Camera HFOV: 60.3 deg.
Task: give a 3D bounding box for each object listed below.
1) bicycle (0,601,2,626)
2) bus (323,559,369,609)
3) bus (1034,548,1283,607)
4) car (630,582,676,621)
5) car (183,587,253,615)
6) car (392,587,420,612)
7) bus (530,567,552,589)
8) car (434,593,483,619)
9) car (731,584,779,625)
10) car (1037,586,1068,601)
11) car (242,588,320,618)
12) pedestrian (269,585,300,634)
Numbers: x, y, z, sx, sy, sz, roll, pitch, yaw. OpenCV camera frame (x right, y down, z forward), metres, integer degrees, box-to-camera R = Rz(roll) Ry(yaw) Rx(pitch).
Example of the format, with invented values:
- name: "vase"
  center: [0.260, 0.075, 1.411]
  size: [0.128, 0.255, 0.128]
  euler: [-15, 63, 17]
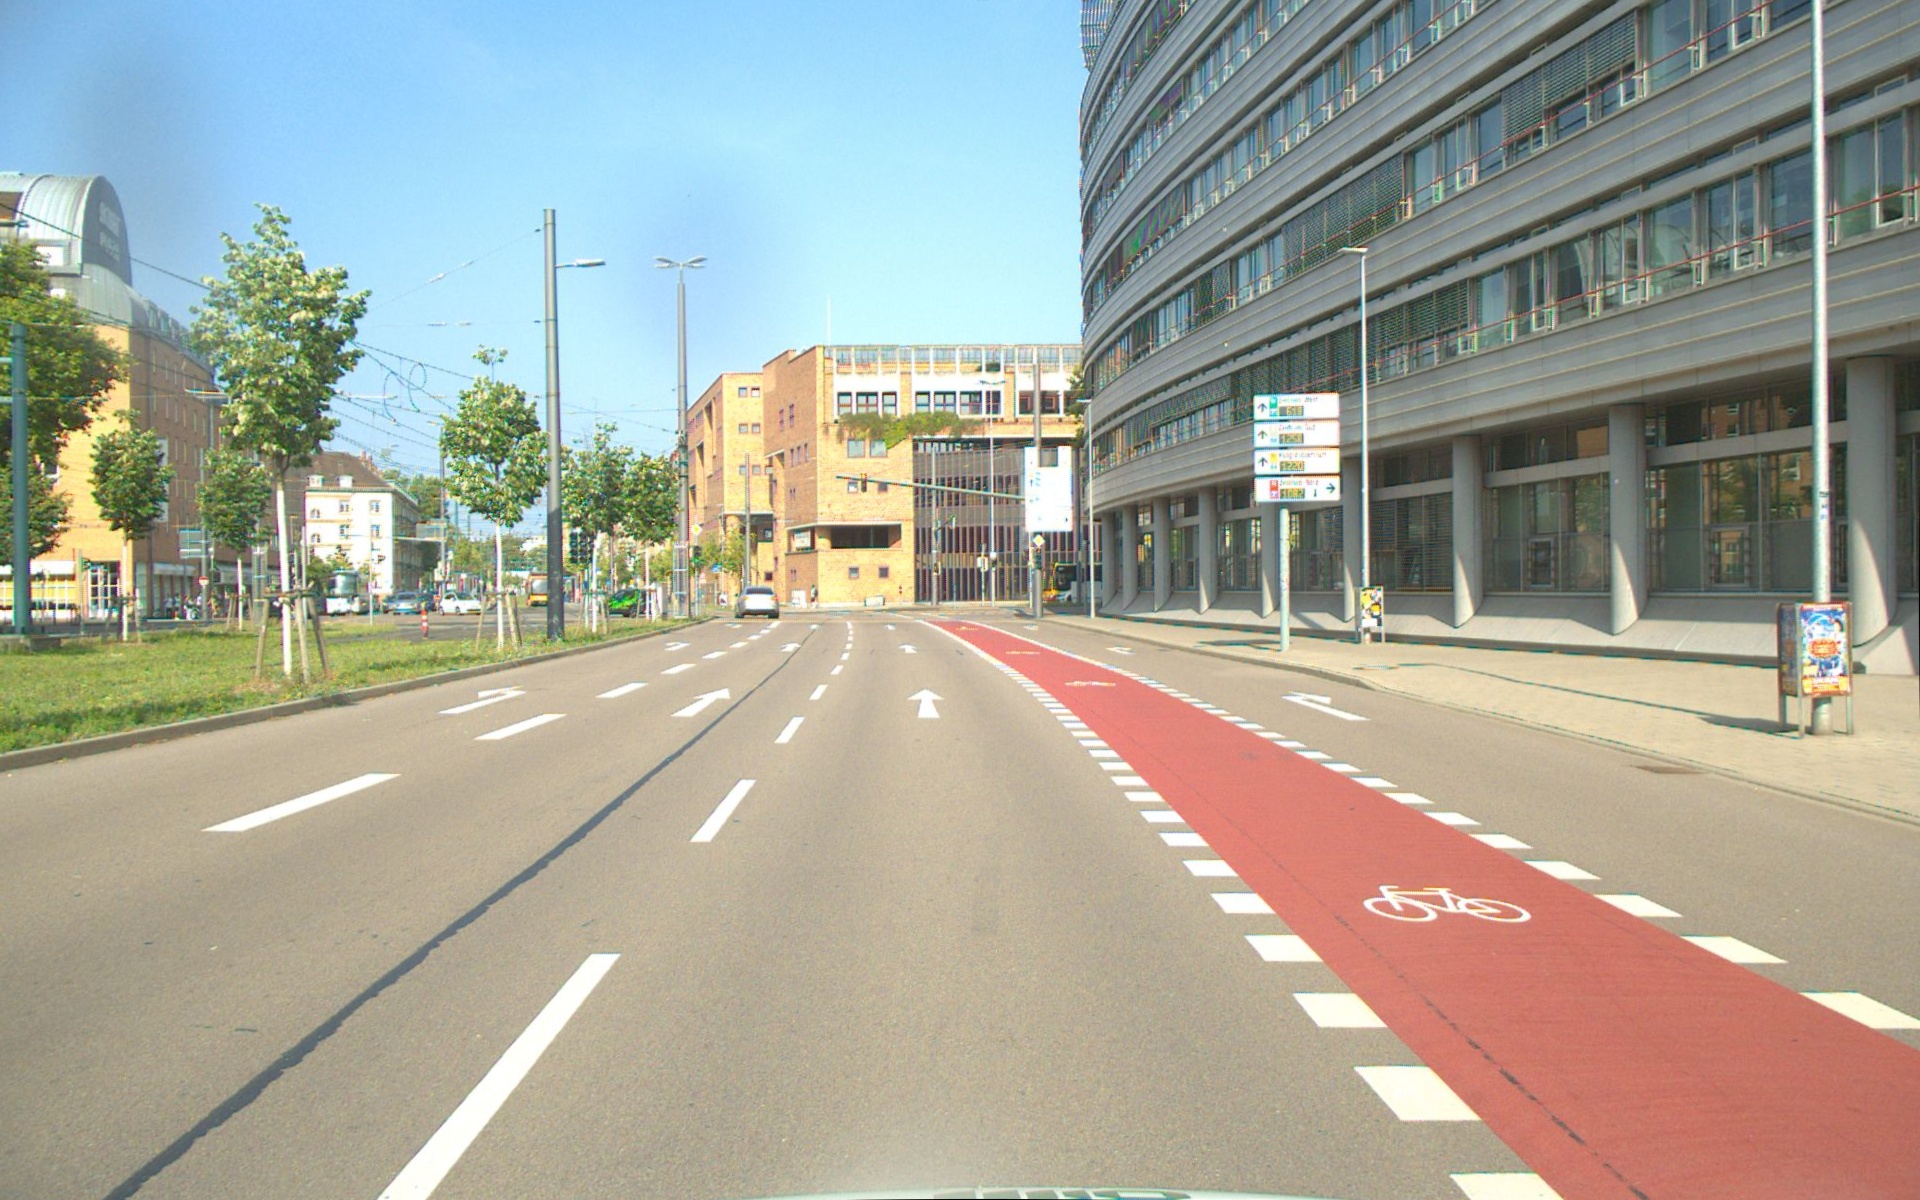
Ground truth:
- name: "bicycle"
  center: [-48.293, 0.713, 82.258]
  size: [2.248, 1.228, 0.546]
  euler: [-2, -2, 44]
- name: "bus"
  center: [-51.323, -1.317, 138.473]
  size: [2.703, 3.989, 12.161]
  euler: [-1, 1, -17]
- name: "bus"
  center: [14.010, -1.609, 117.201]
  size: [17.264, 3.877, 2.862]
  euler: [-1, -1, -5]
- name: "car"
  center: [-16.972, 0.116, 91.585]
  size: [1.954, 2.049, 4.239]
  euler: [-1, -1, -4]
- name: "car"
  center: [-46.944, 0.061, 104.664]
  size: [3.536, 1.652, 1.868]
  euler: [-1, 0, 3]
- name: "car"
  center: [-39.984, -0.053, 119.415]
  size: [1.657, 1.663, 4.373]
  euler: [-1, 2, -16]
- name: "bus"
  center: [-42.092, -2.229, 166.209]
  size: [1.962, 2.049, 3.981]
  euler: [-1, -1, -17]
- name: "car"
  center: [-32.567, 0.393, 107.368]
  size: [1.722, 1.569, 3.392]
  euler: [0, -2, -44]
- name: "car"
  center: [-9.384, 0.216, 75.587]
  size: [1.676, 1.786, 3.875]
  euler: [-1, -1, -14]
- name: "car"
  center: [6.313, -0.441, 113.099]
  size: [1.914, 0.975, 1.092]
  euler: [1, -2, -6]
- name: "car"
  center: [-40.917, 0.170, 99.770]
  size: [3.908, 1.708, 1.998]
  euler: [-1, -1, -4]
- name: "pedestrian"
  center: [-29.017, 0.416, 71.051]
  size: [1.136, 2.049, 0.773]
  euler: [0, -1, -16]
